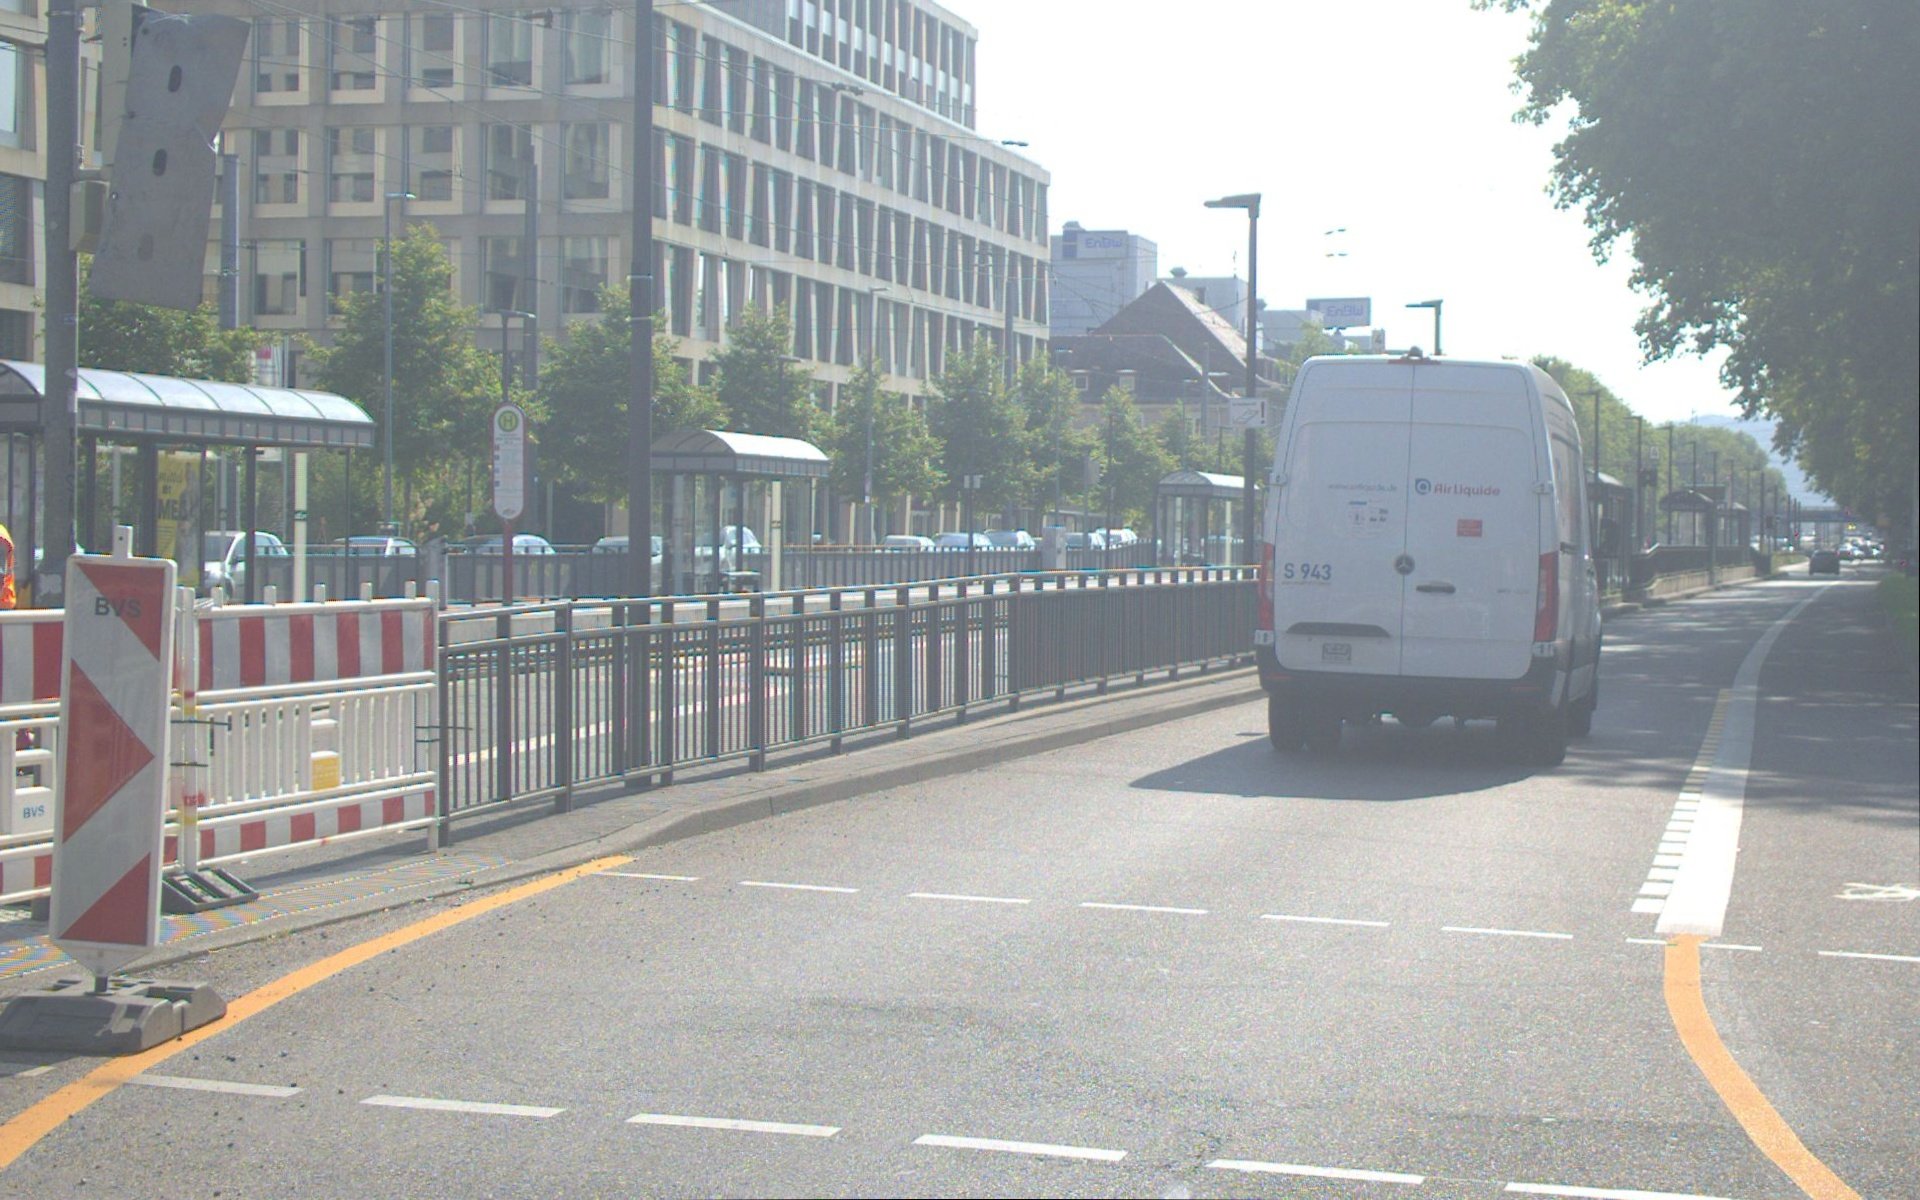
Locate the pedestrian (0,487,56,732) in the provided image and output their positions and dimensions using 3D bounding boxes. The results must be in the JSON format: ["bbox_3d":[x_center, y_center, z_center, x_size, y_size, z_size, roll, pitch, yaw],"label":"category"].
[{"bbox_3d":[-7.840,0.067,27.664,0.724,1.944,0.787,0,2,30],"label":"pedestrian"}]

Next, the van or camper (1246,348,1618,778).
[{"bbox_3d":[3.462,-0.311,24.312,2.116,2.672,5.247,1,2,13],"label":"van or camper"}]
